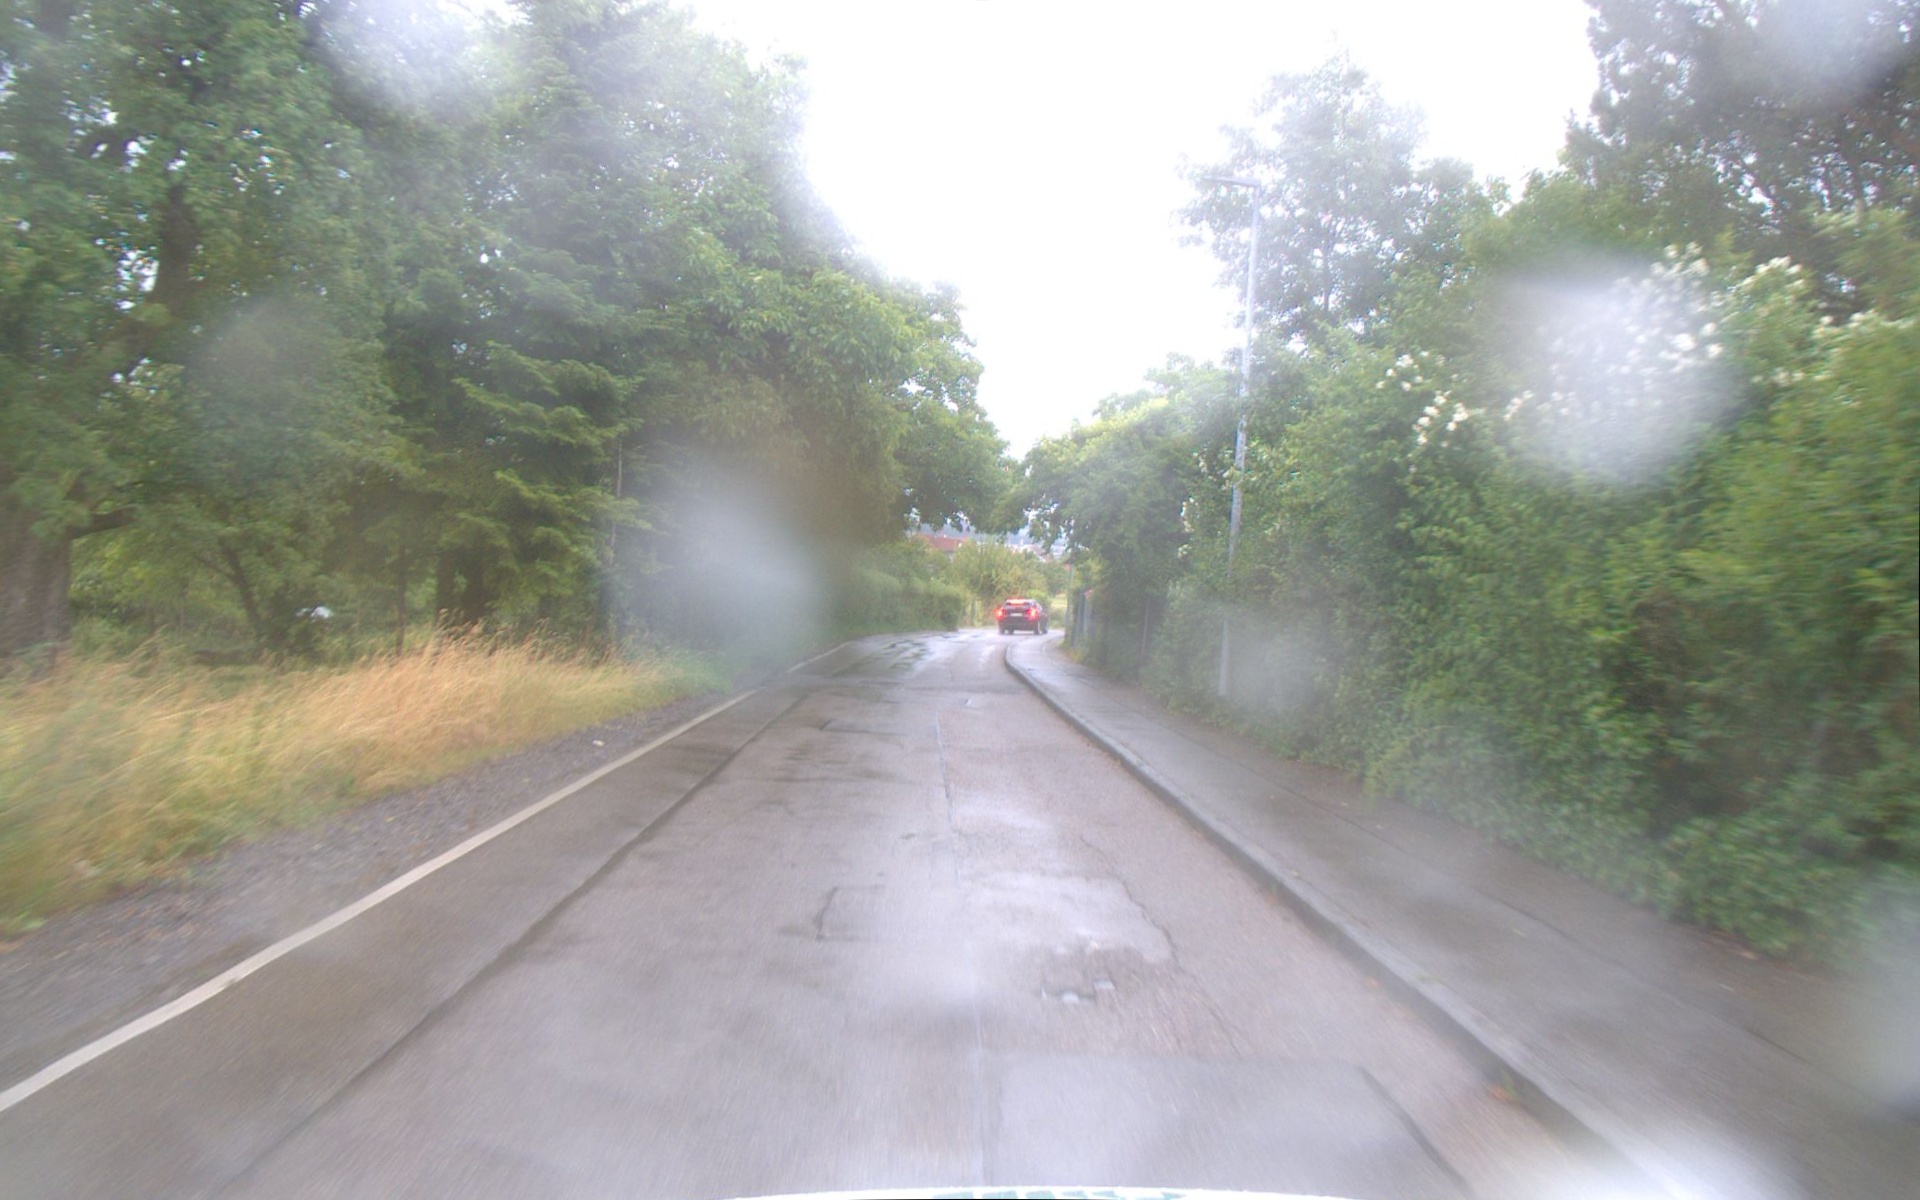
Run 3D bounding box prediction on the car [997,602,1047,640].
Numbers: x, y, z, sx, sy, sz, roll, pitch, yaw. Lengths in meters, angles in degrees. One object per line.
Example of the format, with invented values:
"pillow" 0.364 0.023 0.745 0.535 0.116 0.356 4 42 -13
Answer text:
"car" 2.667 0.929 70.642 1.600 1.475 3.547 3 -1 10
